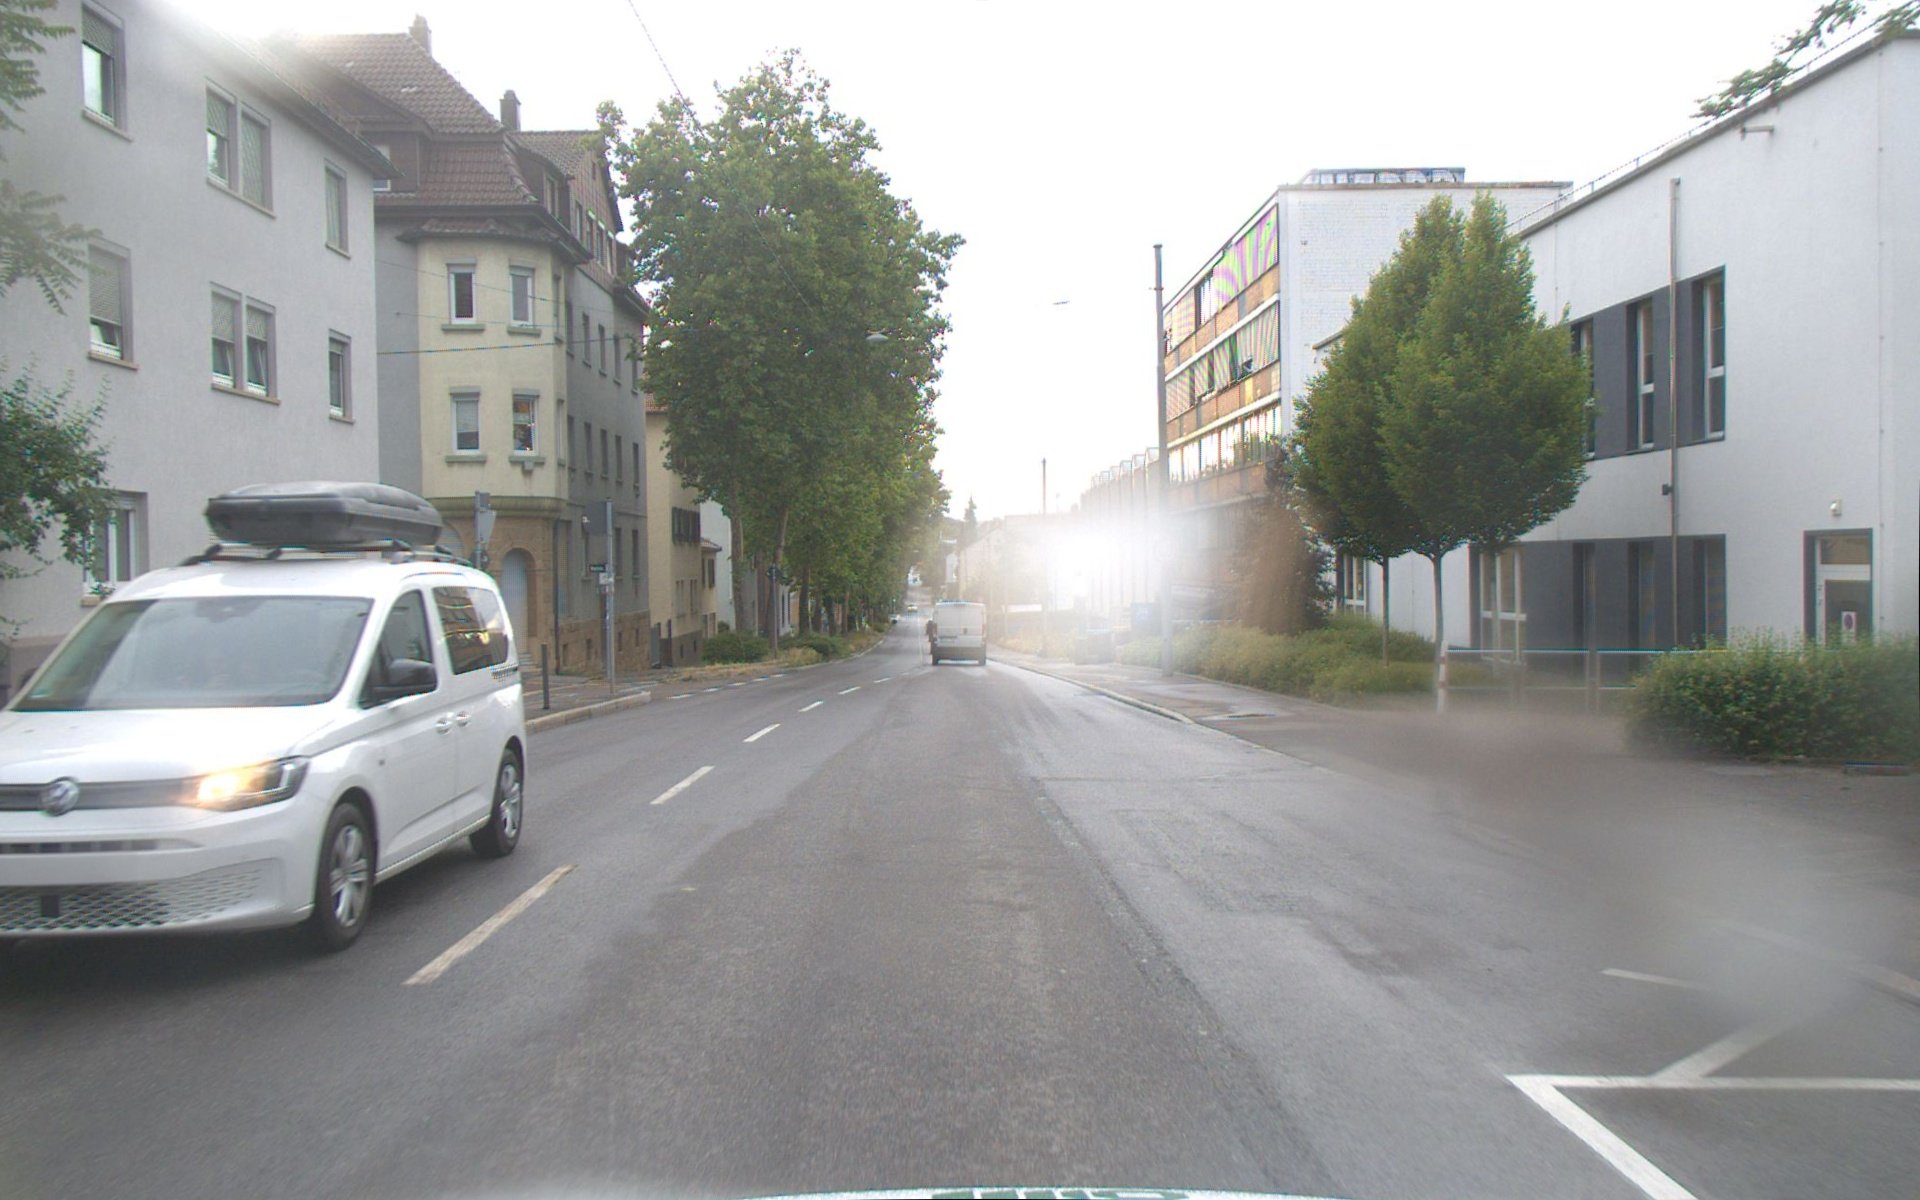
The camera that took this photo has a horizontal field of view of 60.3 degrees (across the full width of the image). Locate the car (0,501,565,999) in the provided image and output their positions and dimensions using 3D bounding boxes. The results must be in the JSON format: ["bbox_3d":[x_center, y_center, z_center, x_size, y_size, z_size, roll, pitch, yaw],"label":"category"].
[{"bbox_3d":[-3.519,0.610,8.648,1.843,1.902,4.452,-1,-1,-1],"label":"car"}]

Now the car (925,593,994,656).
[{"bbox_3d":[-0.063,0.876,62.160,2.300,2.198,4.775,-1,1,-3],"label":"car"}]

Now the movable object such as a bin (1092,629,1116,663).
[{"bbox_3d":[4.953,1.577,56.851,0.681,1.101,0.778,-4,-1,0],"label":"movable object such as a bin"}]

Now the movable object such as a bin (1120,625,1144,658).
[{"bbox_3d":[5.903,1.420,56.926,0.681,1.101,0.778,-4,-1,0],"label":"movable object such as a bin"}]

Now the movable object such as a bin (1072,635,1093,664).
[{"bbox_3d":[4.189,1.681,56.675,0.607,0.953,0.686,-4,-1,0],"label":"movable object such as a bin"}]

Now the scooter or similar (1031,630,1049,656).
[{"bbox_3d":[3.644,1.973,75.560,0.593,1.182,1.698,-1,-1,-6],"label":"scooter or similar"}]
